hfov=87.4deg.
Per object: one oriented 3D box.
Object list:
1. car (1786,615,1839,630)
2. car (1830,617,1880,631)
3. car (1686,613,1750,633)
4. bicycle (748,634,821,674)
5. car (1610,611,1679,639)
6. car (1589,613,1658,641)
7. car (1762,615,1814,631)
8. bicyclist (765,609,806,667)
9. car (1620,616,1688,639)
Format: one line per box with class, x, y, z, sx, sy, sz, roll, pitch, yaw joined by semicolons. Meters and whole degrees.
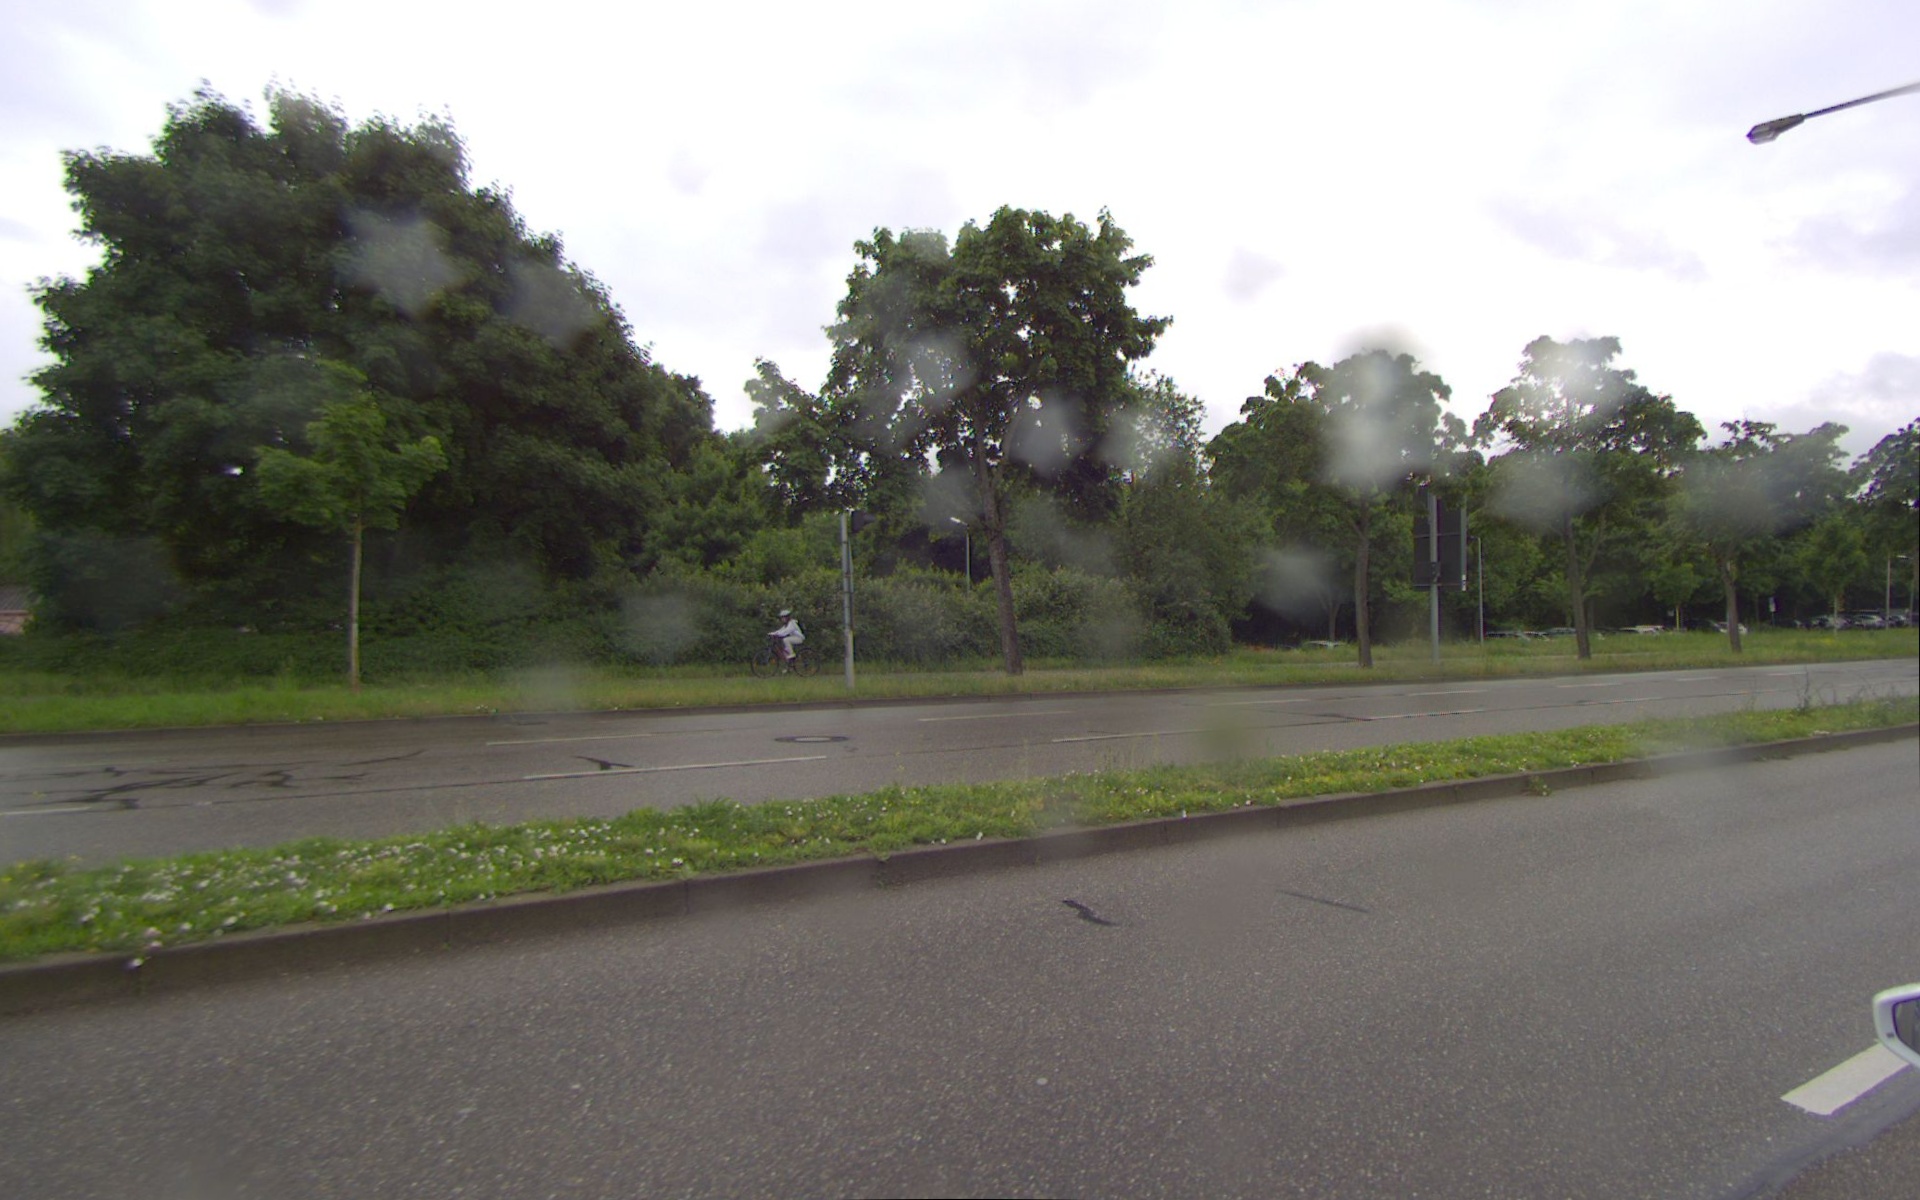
car;86.189;2.304;101.576;1.510;1.471;3.807;0;-1;-37
car;96.792;2.584;108.676;1.510;1.471;3.807;0;-1;-37
car;64.148;1.926;85.026;1.894;1.662;3.958;0;-1;-37
bicycle;-4.112;1.254;23.575;1.614;0.897;0.519;1;0;-30
car;52.291;1.880;76.752;1.981;2.040;3.958;0;-1;-37
car;49.912;2.030;75.605;1.981;2.040;3.958;0;-1;-37
car;80.056;2.216;97.135;1.474;1.445;3.707;0;-1;-37
bicyclist;-4.102;0.878;23.574;0.798;1.320;0.519;1;0;-30
car;54.041;2.116;78.238;1.981;1.639;3.958;0;0;-37
